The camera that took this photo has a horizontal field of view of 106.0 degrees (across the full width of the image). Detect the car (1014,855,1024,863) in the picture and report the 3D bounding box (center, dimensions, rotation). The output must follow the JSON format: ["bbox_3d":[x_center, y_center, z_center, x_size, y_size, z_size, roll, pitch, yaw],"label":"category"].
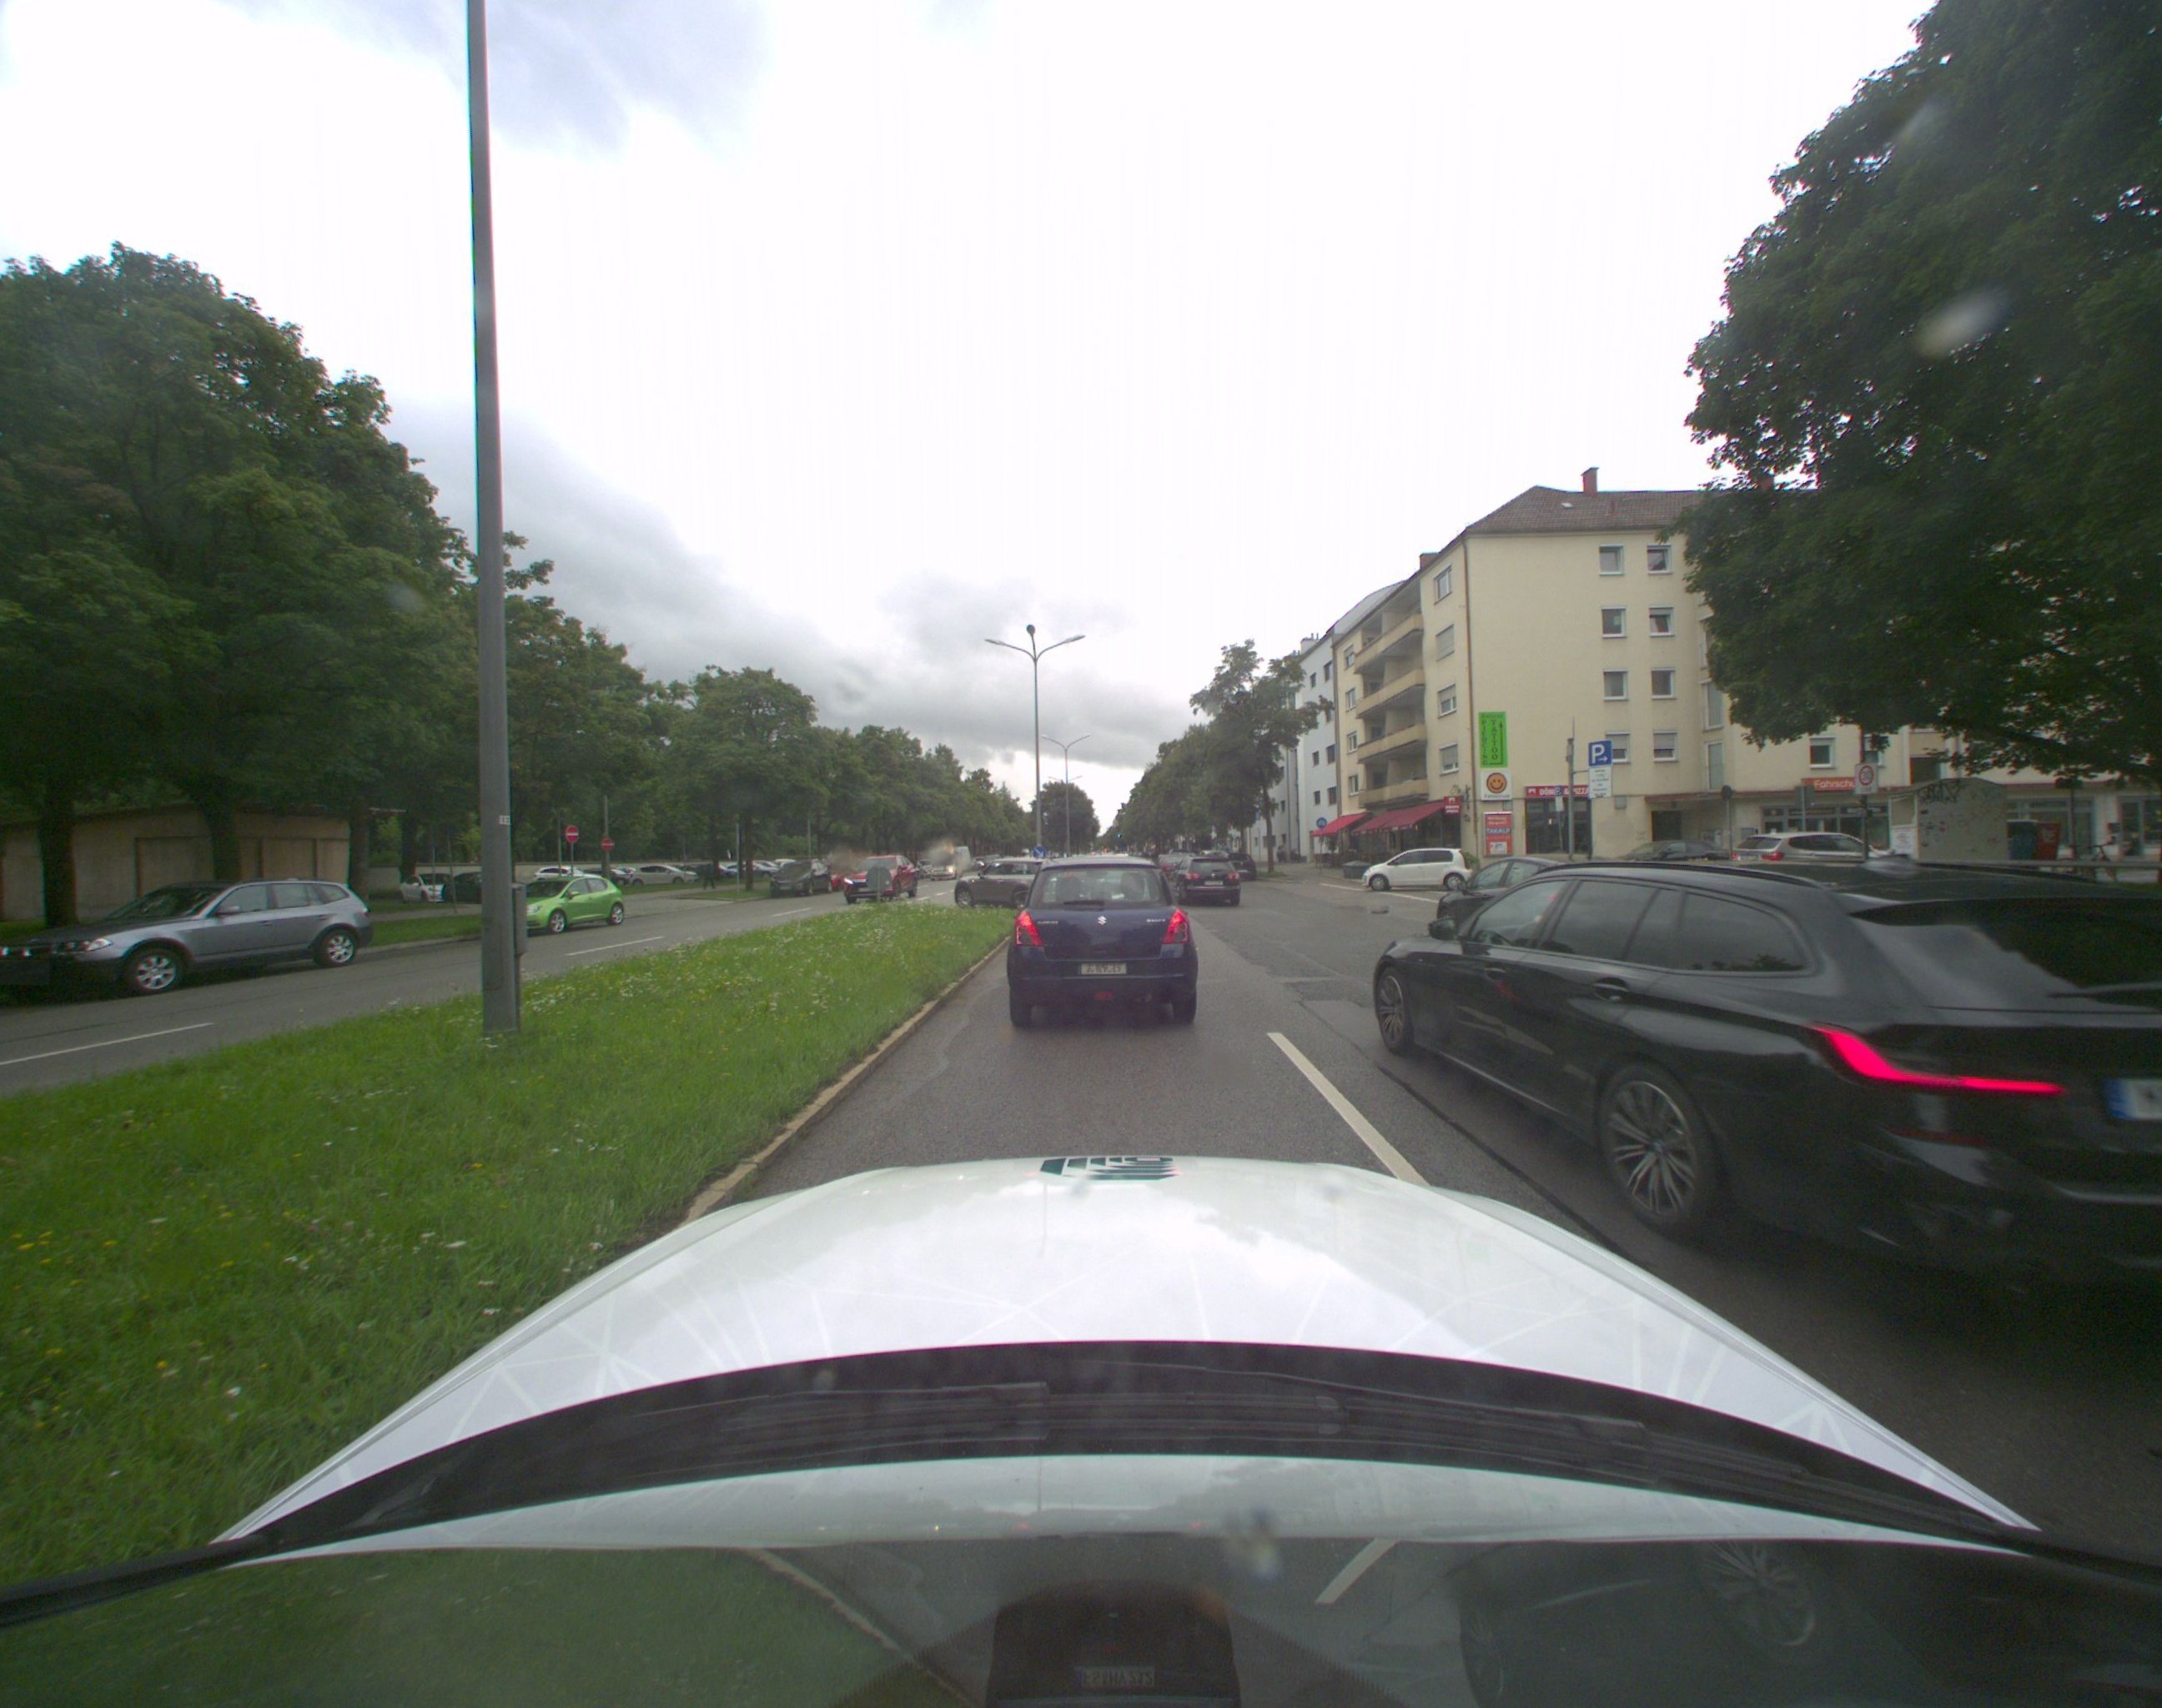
[{"bbox_3d":[-12.055,0.979,158.818,1.627,1.583,3.879,-1,0,1],"label":"car"}]

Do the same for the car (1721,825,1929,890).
[{"bbox_3d":[21.478,0.068,23.648,4.379,1.660,1.872,-2,2,0],"label":"car"}]

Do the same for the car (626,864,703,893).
[{"bbox_3d":[-26.120,1.535,51.127,3.911,1.718,1.670,-1,0,-4],"label":"car"}]

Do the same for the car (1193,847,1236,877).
[{"bbox_3d":[7.597,0.410,46.714,1.785,1.558,4.225,-2,0,1],"label":"car"}]

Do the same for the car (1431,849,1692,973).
[{"bbox_3d":[6.501,0.678,11.523,1.611,1.465,3.675,0,0,1],"label":"car"}]

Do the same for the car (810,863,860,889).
[{"bbox_3d":[-13.313,1.168,44.255,1.585,1.312,3.381,-1,0,1],"label":"car"}]

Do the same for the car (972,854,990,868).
[{"bbox_3d":[-11.702,0.778,95.643,1.627,1.583,3.879,-1,0,1],"label":"car"}]

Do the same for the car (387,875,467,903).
[{"bbox_3d":[-31.003,1.634,38.577,4.363,1.201,1.683,-1,-1,33],"label":"car"}]

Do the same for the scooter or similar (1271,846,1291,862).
[{"bbox_3d":[16.748,-0.019,68.234,1.029,1.307,2.757,-2,0,2],"label":"scooter or similar"}]

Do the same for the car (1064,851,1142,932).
[{"bbox_3d":[0.440,0.702,16.891,1.439,1.483,3.106,-1,0,0],"label":"car"}]

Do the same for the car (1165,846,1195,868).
[{"bbox_3d":[7.830,0.219,64.915,1.859,1.682,4.224,-2,0,0],"label":"car"}]

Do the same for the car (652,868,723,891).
[{"bbox_3d":[-26.078,1.676,54.072,3.859,1.445,1.670,-1,0,-4],"label":"car"}]

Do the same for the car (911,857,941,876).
[{"bbox_3d":[-12.574,0.983,66.121,1.627,1.431,3.879,-1,0,1],"label":"car"}]

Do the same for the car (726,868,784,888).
[{"bbox_3d":[-25.417,1.894,63.617,3.859,1.445,1.670,-1,0,-4],"label":"car"}]

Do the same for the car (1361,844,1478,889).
[{"bbox_3d":[11.716,0.431,28.205,3.515,1.417,1.883,-2,0,28],"label":"car"}]

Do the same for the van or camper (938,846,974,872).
[{"bbox_3d":[-12.257,0.483,80.306,2.108,2.482,7.453,-1,0,2],"label":"van or camper"}]

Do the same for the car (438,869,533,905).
[{"bbox_3d":[-26.264,1.416,35.881,4.363,1.445,1.973,-1,-1,33],"label":"car"}]

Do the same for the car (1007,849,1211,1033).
[{"bbox_3d":[0.259,0.713,8.762,1.676,1.502,3.919,-1,0,0],"label":"car"}]

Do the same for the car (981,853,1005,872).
[{"bbox_3d":[-8.634,0.809,80.204,1.760,1.623,4.508,-3,0,1],"label":"car"}]

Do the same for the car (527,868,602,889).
[{"bbox_3d":[-37.946,1.801,59.875,4.489,1.476,1.673,-1,-1,2],"label":"car"}]

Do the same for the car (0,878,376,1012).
[{"bbox_3d":[-14.136,1.296,13.087,1.685,1.586,4.371,-3,0,1],"label":"car"}]

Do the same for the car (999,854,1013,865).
[{"bbox_3d":[-10.869,0.787,118.840,1.627,1.583,3.879,-1,0,1],"label":"car"}]

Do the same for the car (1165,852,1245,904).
[{"bbox_3d":[3.654,0.653,24.649,1.726,1.432,4.441,0,0,0],"label":"car"}]

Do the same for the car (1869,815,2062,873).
[{"bbox_3d":[30.747,-0.343,28.405,4.720,1.773,1.871,-2,0,0],"label":"car"}]

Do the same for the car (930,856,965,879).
[{"bbox_3d":[-9.111,0.909,55.789,1.612,1.375,3.838,-3,0,1],"label":"car"}]

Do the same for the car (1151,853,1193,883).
[{"bbox_3d":[4.307,0.626,38.913,1.676,1.383,3.920,0,0,1],"label":"car"}]

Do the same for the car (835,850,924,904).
[{"bbox_3d":[-7.231,0.780,29.683,1.896,1.696,4.247,-4,0,2],"label":"car"}]

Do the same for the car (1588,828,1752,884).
[{"bbox_3d":[20.273,0.061,28.126,4.383,1.661,1.869,-2,0,-3],"label":"car"}]

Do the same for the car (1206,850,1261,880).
[{"bbox_3d":[7.792,0.520,41.963,1.860,1.417,4.222,-2,0,-2],"label":"car"}]

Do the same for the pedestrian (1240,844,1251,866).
[{"bbox_3d":[15.641,0.103,77.492,0.791,2.013,1.006,-2,0,2],"label":"pedestrian"}]

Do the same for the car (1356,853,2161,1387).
[{"bbox_3d":[3.108,0.719,4.443,1.752,1.413,4.462,0,0,0],"label":"car"}]

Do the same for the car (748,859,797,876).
[{"bbox_3d":[-28.677,1.251,75.734,3.859,1.445,1.670,-1,0,-4],"label":"car"}]

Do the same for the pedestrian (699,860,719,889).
[{"bbox_3d":[-20.151,1.121,44.155,0.725,1.534,0.721,-1,0,2],"label":"pedestrian"}]

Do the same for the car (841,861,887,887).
[{"bbox_3d":[-12.953,1.169,48.748,1.661,1.445,3.879,-1,0,1],"label":"car"}]

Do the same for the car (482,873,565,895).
[{"bbox_3d":[-39.151,2.073,57.253,4.671,1.445,1.674,-1,0,3],"label":"car"}]

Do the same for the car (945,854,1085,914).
[{"bbox_3d":[-1.838,0.775,22.085,3.686,1.463,1.698,-1,0,42],"label":"car"}]

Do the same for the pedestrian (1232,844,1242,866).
[{"bbox_3d":[14.825,0.113,77.445,0.791,2.013,1.006,-2,0,2],"label":"pedestrian"}]

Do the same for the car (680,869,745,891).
[{"bbox_3d":[-26.339,1.823,58.232,3.859,1.445,1.670,-1,0,-4],"label":"car"}]

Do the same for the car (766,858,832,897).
[{"bbox_3d":[-13.333,1.060,38.680,1.710,1.741,3.879,-1,0,1],"label":"car"}]

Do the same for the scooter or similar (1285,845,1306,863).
[{"bbox_3d":[16.961,-0.017,64.440,1.029,1.307,2.757,-2,0,2],"label":"scooter or similar"}]

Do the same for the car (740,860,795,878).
[{"bbox_3d":[-25.706,1.227,66.803,3.859,1.445,1.670,-1,0,-4],"label":"car"}]

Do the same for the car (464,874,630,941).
[{"bbox_3d":[-13.902,1.341,21.504,1.541,1.409,3.883,-3,0,4],"label":"car"}]

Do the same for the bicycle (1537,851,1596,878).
[{"bbox_3d":[17.892,0.382,30.015,1.841,0.957,0.557,-1,0,0],"label":"bicycle"}]

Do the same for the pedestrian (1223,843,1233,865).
[{"bbox_3d":[13.999,-0.009,77.504,0.791,2.013,1.006,-2,0,2],"label":"pedestrian"}]
